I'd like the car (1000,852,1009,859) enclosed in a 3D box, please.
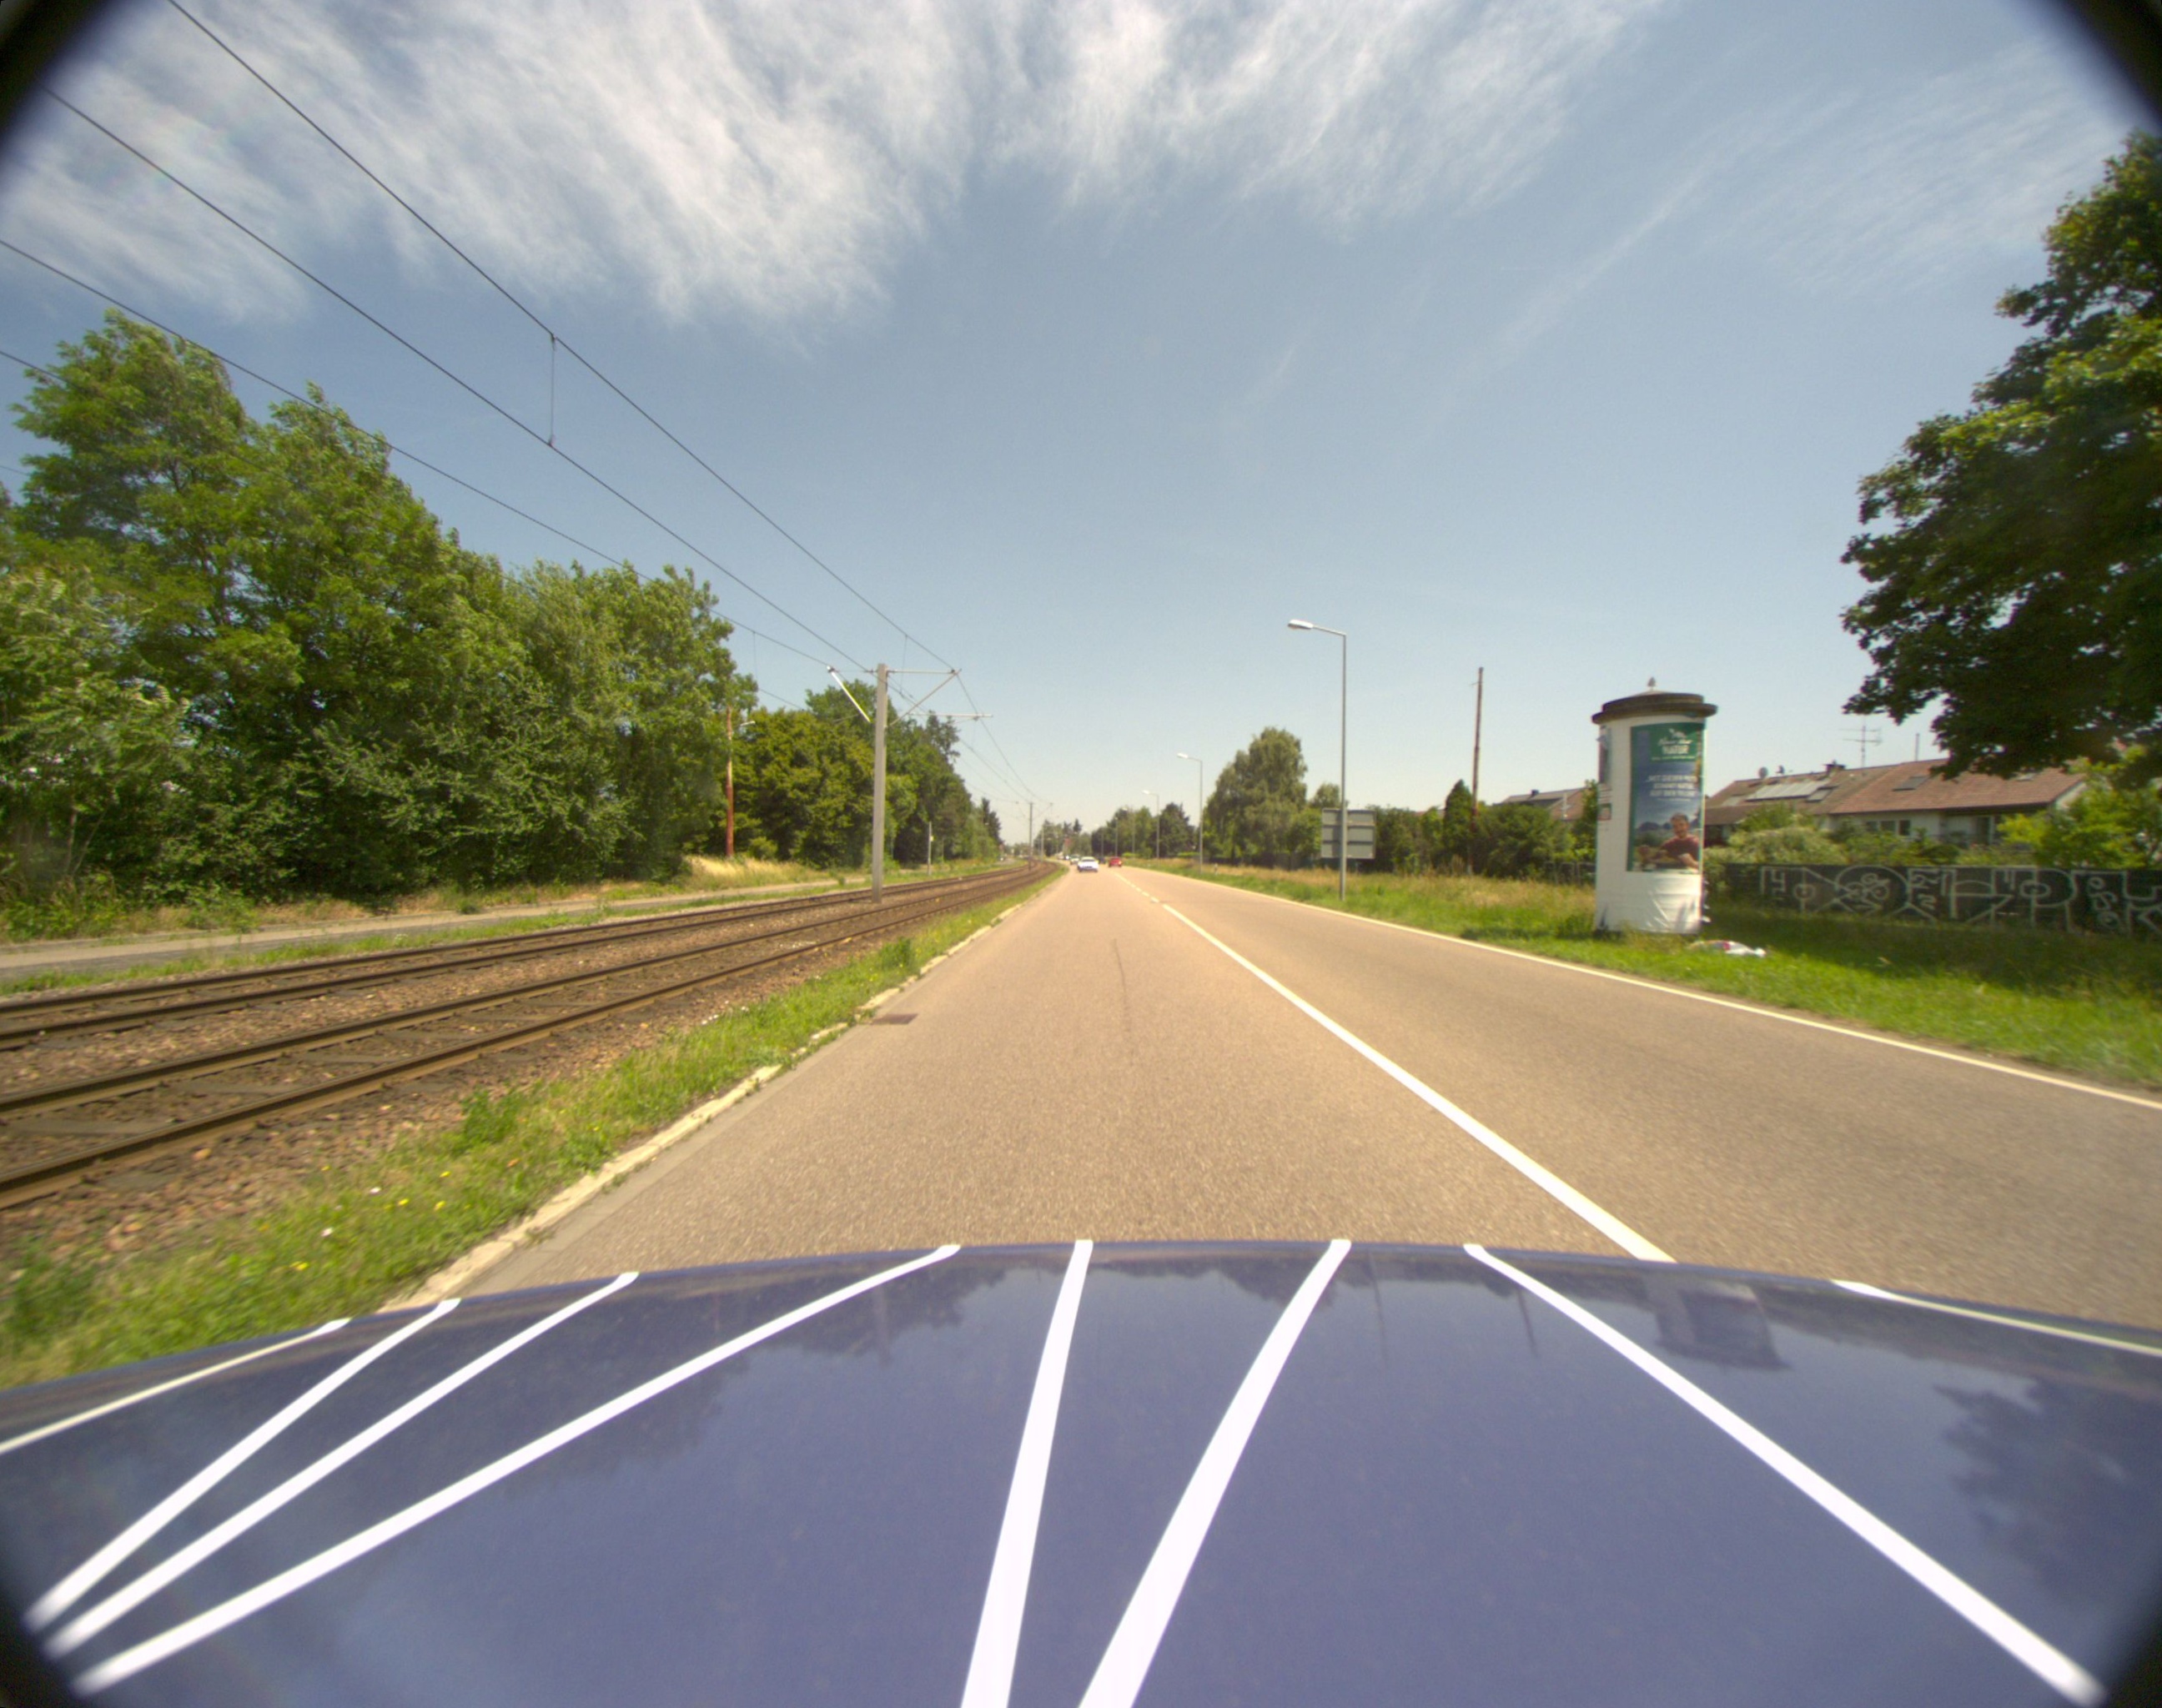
[{"bbox_3d":[-20.509,0.483,203.690,1.999,1.710,3.999,-2,1,-2],"label":"car"}]

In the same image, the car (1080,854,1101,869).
[{"bbox_3d":[0.940,0.737,75.554,1.954,1.467,4.361,1,0,1],"label":"car"}]

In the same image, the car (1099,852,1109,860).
[{"bbox_3d":[4.282,0.372,141.598,1.689,1.560,3.966,0,0,-2],"label":"car"}]

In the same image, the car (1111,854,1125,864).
[{"bbox_3d":[5.169,0.714,107.415,1.683,1.391,3.999,0,0,-1],"label":"car"}]

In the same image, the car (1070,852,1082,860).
[{"bbox_3d":[-0.947,0.417,138.375,1.892,1.456,3.998,0,0,-4],"label":"car"}]

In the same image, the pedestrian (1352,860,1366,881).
[{"bbox_3d":[17.649,1.030,48.252,0.582,1.347,0.799,0,1,3],"label":"pedestrian"}]
